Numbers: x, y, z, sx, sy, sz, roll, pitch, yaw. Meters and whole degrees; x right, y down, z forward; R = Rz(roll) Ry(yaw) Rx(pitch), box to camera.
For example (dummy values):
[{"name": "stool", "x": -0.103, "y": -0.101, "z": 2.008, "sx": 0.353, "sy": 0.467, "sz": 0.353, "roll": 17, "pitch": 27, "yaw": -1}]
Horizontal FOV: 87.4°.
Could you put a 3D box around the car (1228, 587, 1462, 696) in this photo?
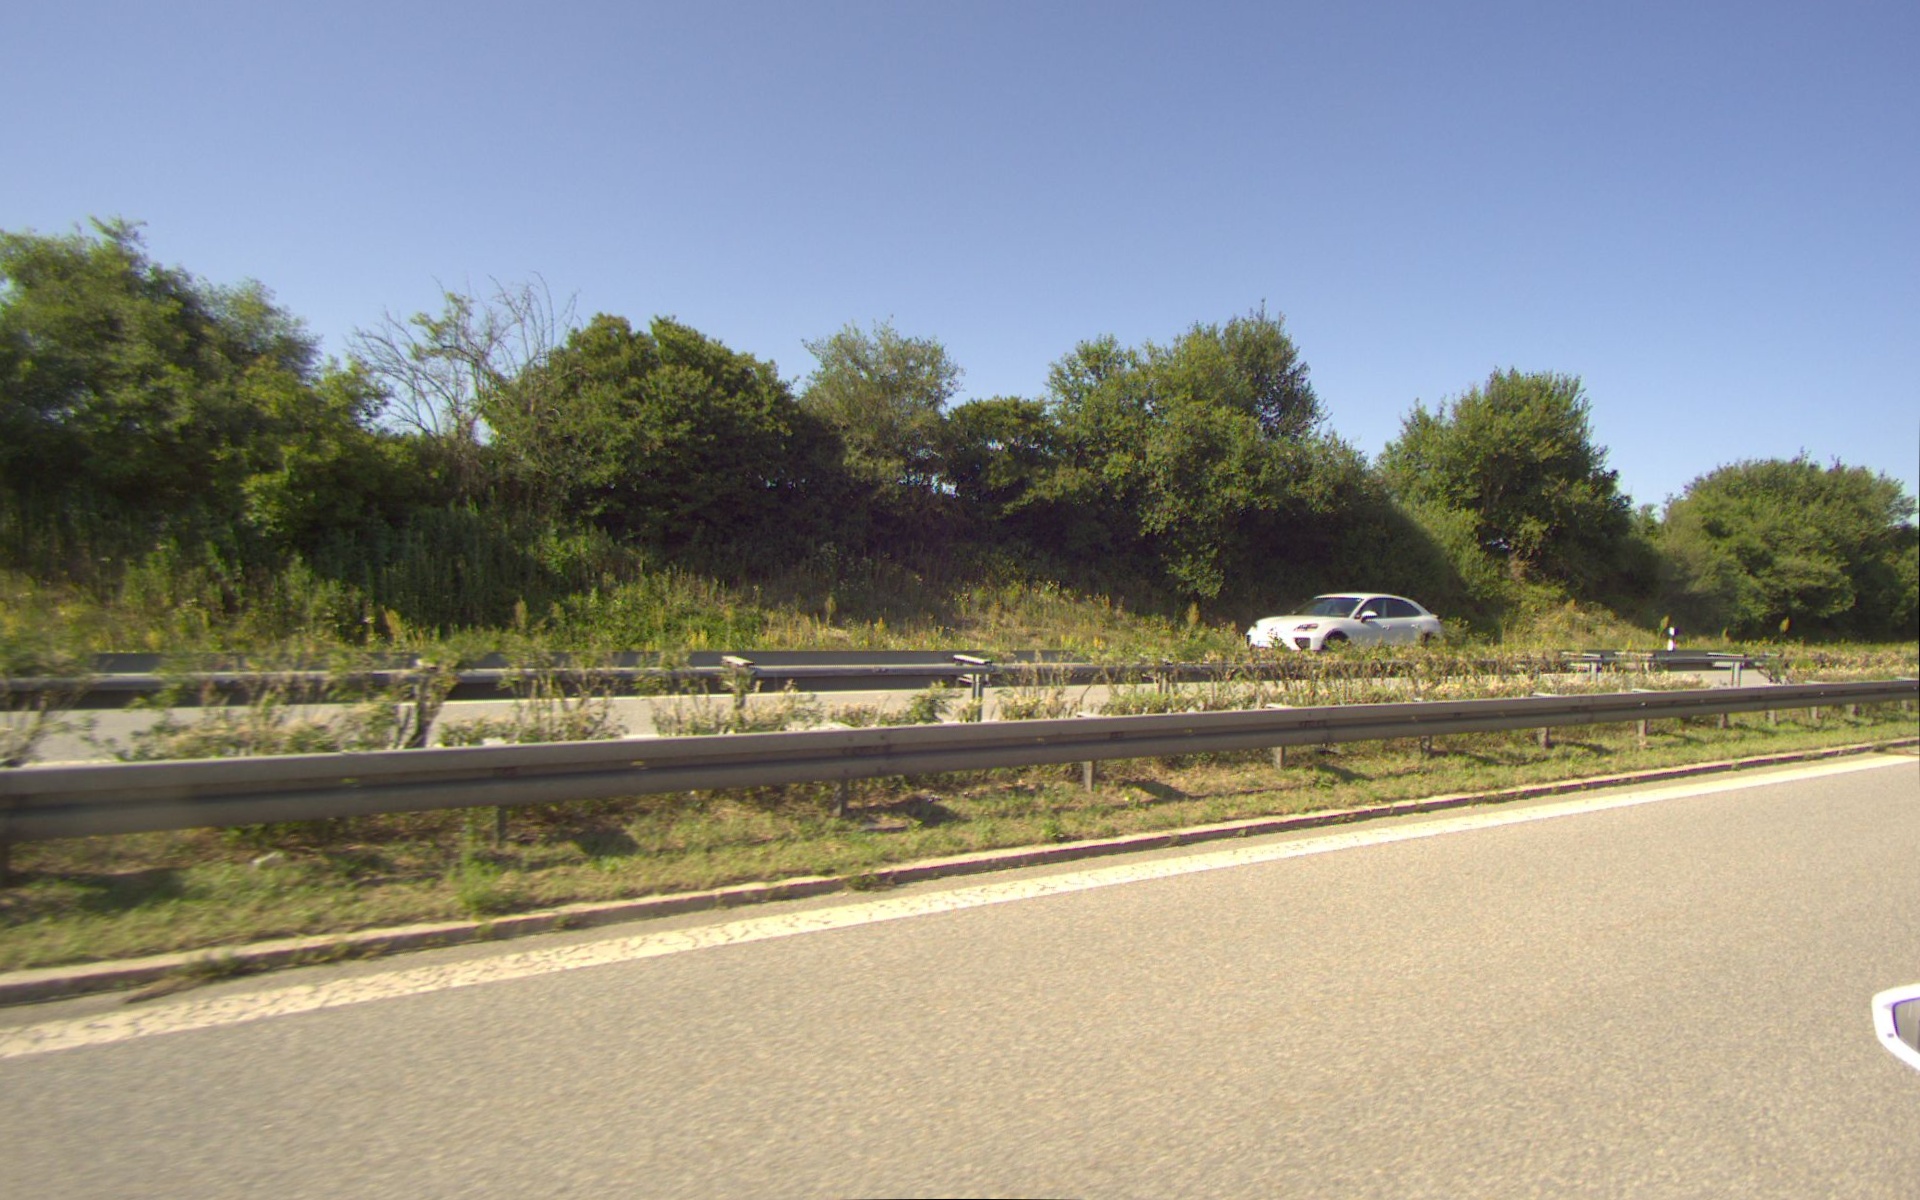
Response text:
[{"name": "car", "x": 8.087, "y": 0.843, "z": 20.976, "sx": 4.799, "sy": 2.040, "sz": 1.984, "roll": 2, "pitch": 0, "yaw": -30}]
